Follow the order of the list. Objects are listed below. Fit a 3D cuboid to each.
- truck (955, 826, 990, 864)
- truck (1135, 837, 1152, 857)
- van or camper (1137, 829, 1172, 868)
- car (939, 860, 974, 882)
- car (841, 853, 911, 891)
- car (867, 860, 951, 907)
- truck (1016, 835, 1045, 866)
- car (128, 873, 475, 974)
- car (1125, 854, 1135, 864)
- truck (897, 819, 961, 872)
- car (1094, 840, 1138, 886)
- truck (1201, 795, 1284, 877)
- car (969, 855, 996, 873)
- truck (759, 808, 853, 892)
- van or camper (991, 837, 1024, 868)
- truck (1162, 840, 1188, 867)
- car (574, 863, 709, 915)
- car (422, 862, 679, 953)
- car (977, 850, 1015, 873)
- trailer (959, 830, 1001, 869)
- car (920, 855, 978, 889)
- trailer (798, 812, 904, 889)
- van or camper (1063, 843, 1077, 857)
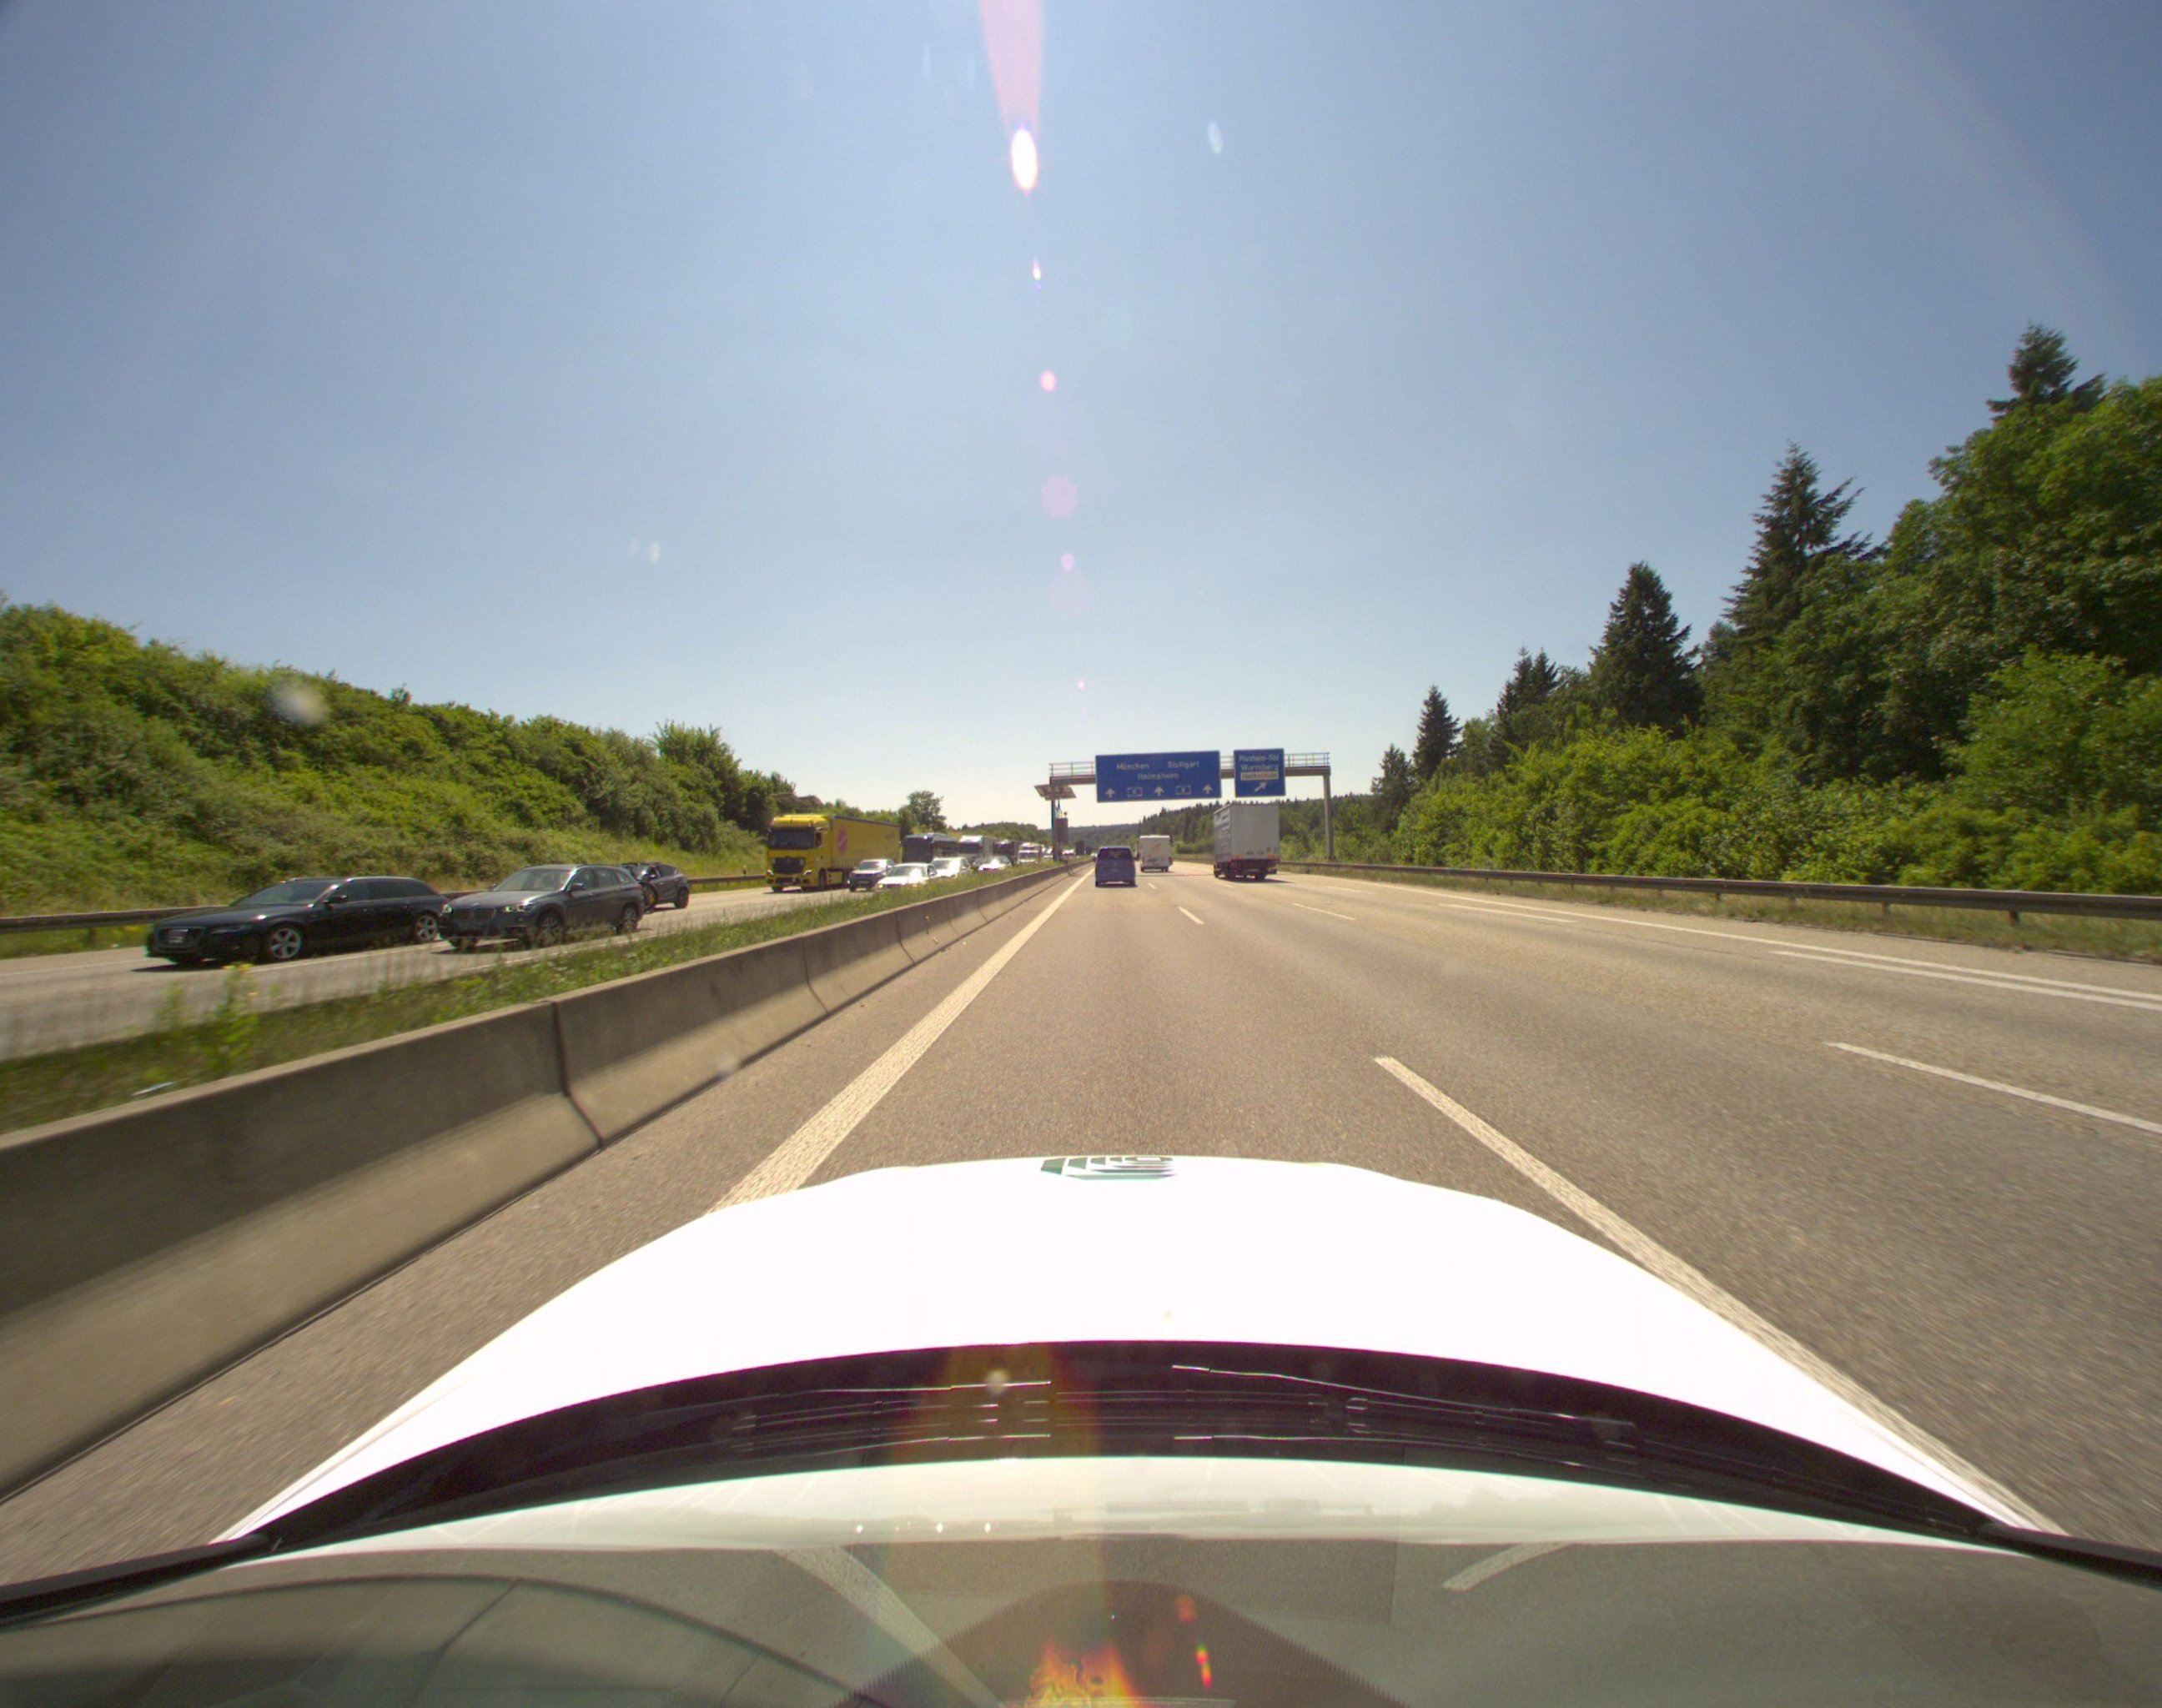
[{"bbox_3d":[-12.409,-1.006,93.505,2.771,4.114,7.032,-2,0,2],"label":"truck"},{"bbox_3d":[13.896,-1.482,182.080,3.473,4.170,8.646,-1,0,2],"label":"truck"},{"bbox_3d":[6.199,-0.538,69.743,2.593,3.078,7.187,-1,1,2],"label":"van or camper"},{"bbox_3d":[-9.418,1.271,61.833,1.768,1.613,4.560,-1,0,2],"label":"car"},{"bbox_3d":[-10.317,0.862,41.516,1.855,1.752,5.905,-1,0,2],"label":"car"},{"bbox_3d":[-6.098,1.004,29.383,1.804,1.513,4.820,-1,0,2],"label":"car"},{"bbox_3d":[-4.819,-0.343,78.839,2.112,2.842,6.215,-1,0,2],"label":"truck"},{"bbox_3d":[-14.224,1.166,15.387,1.804,1.513,4.800,-1,0,2],"label":"car"},{"bbox_3d":[8.966,0.958,149.549,1.811,1.794,3.896,-1,0,2],"label":"car"},{"bbox_3d":[-13.054,-0.620,71.198,3.044,4.221,11.492,-1,0,2],"label":"truck"},{"bbox_3d":[1.653,0.390,39.026,1.902,2.013,4.001,-2,0,1],"label":"car"},{"bbox_3d":[8.896,-0.866,46.150,2.774,4.128,9.738,-1,0,0],"label":"truck"},{"bbox_3d":[-9.228,0.946,76.799,1.768,1.548,4.762,-2,0,2],"label":"car"},{"bbox_3d":[-14.272,-0.199,42.810,2.592,4.064,6.136,-1,0,2],"label":"truck"},{"bbox_3d":[-8.293,-0.108,93.226,2.518,3.360,7.950,-1,0,3],"label":"van or camper"},{"bbox_3d":[13.415,-0.186,116.596,2.916,3.575,8.532,-3,1,3],"label":"truck"},{"bbox_3d":[-14.395,1.092,26.999,1.804,1.513,4.603,-1,0,2],"label":"car"},{"bbox_3d":[-10.999,1.000,17.526,1.804,1.629,5.384,-1,0,2],"label":"car"},{"bbox_3d":[-5.740,0.507,55.377,1.804,1.513,5.032,-1,0,2],"label":"car"},{"bbox_3d":[-12.077,-0.467,98.551,2.770,4.305,11.720,-2,0,3],"label":"trailer"},{"bbox_3d":[-6.379,0.836,39.973,1.804,1.513,5.032,-1,0,2],"label":"car"},{"bbox_3d":[-13.906,-0.162,50.538,2.639,4.144,11.863,-1,0,3],"label":"trailer"},{"bbox_3d":[-2.107,-0.781,157.831,2.185,2.541,6.419,-2,0,2],"label":"van or camper"}]
